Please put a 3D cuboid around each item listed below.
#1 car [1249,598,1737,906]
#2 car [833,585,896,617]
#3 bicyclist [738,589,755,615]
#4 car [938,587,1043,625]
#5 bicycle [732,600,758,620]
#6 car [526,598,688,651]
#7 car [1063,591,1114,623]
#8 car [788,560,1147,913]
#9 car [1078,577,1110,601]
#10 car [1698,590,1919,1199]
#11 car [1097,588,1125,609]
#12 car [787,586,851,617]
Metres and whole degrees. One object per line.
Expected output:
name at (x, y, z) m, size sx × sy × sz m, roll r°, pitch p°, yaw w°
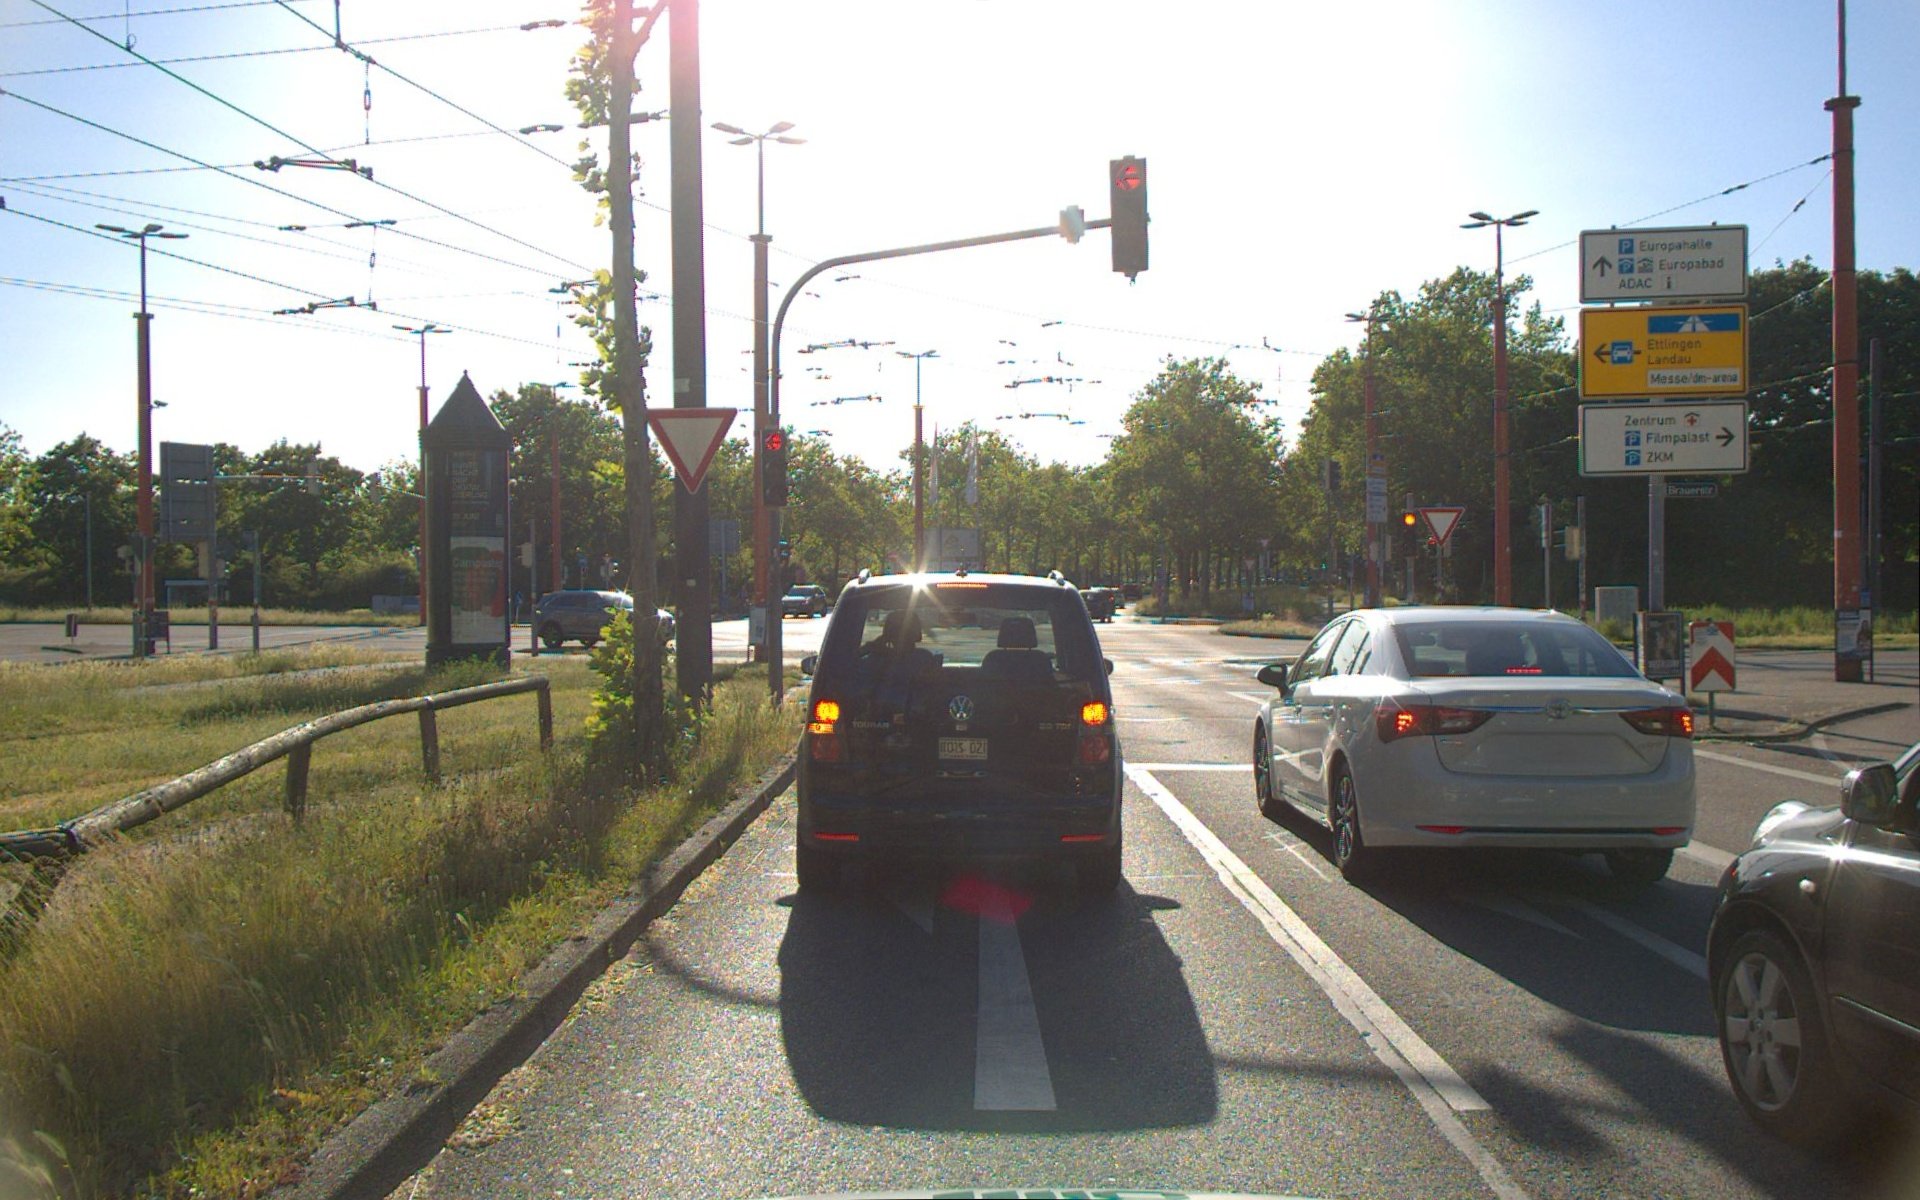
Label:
car at (2.948, 0.737, 10.102) m, size 1.679 × 1.480 × 4.144 m, roll 0°, pitch 0°, yaw 0°
car at (-5.235, 0.024, 91.442) m, size 1.951 × 1.714 × 4.831 m, roll 0°, pitch 0°, yaw 17°
bicyclist at (-12.198, 0.093, 94.432) m, size 0.678 × 1.483 × 0.875 m, roll 0°, pitch 0°, yaw 17°
car at (1.254, 0.239, 66.775) m, size 1.882 × 1.489 × 4.210 m, roll 0°, pitch 0°, yaw 45°
bicycle at (-12.229, 0.568, 94.213) m, size 0.719 × 1.109 × 1.962 m, roll 0°, pitch 0°, yaw 18°
car at (-10.731, 0.720, 50.312) m, size 4.539 × 1.570 × 1.999 m, roll 0°, pitch 0°, yaw 24°
car at (6.183, 0.303, 79.125) m, size 1.867 × 1.489 × 4.059 m, roll 0°, pitch 0°, yaw 13°
car at (0.007, 0.641, 9.857) m, size 1.702 × 1.670 × 3.999 m, roll 0°, pitch 0°, yaw -1°
car at (8.312, -0.692, 102.597) m, size 1.868 × 1.489 × 4.376 m, roll 0°, pitch 1°, yaw 3°
car at (3.128, 0.740, 3.502) m, size 1.525 × 1.532 × 3.515 m, roll 0°, pitch 0°, yaw -1°
car at (10.960, -0.111, 119.940) m, size 1.867 × 1.489 × 4.226 m, roll 0°, pitch 0°, yaw 7°
car at (-7.885, 0.081, 93.086) m, size 1.951 × 1.714 × 4.831 m, roll 0°, pitch 0°, yaw 17°
